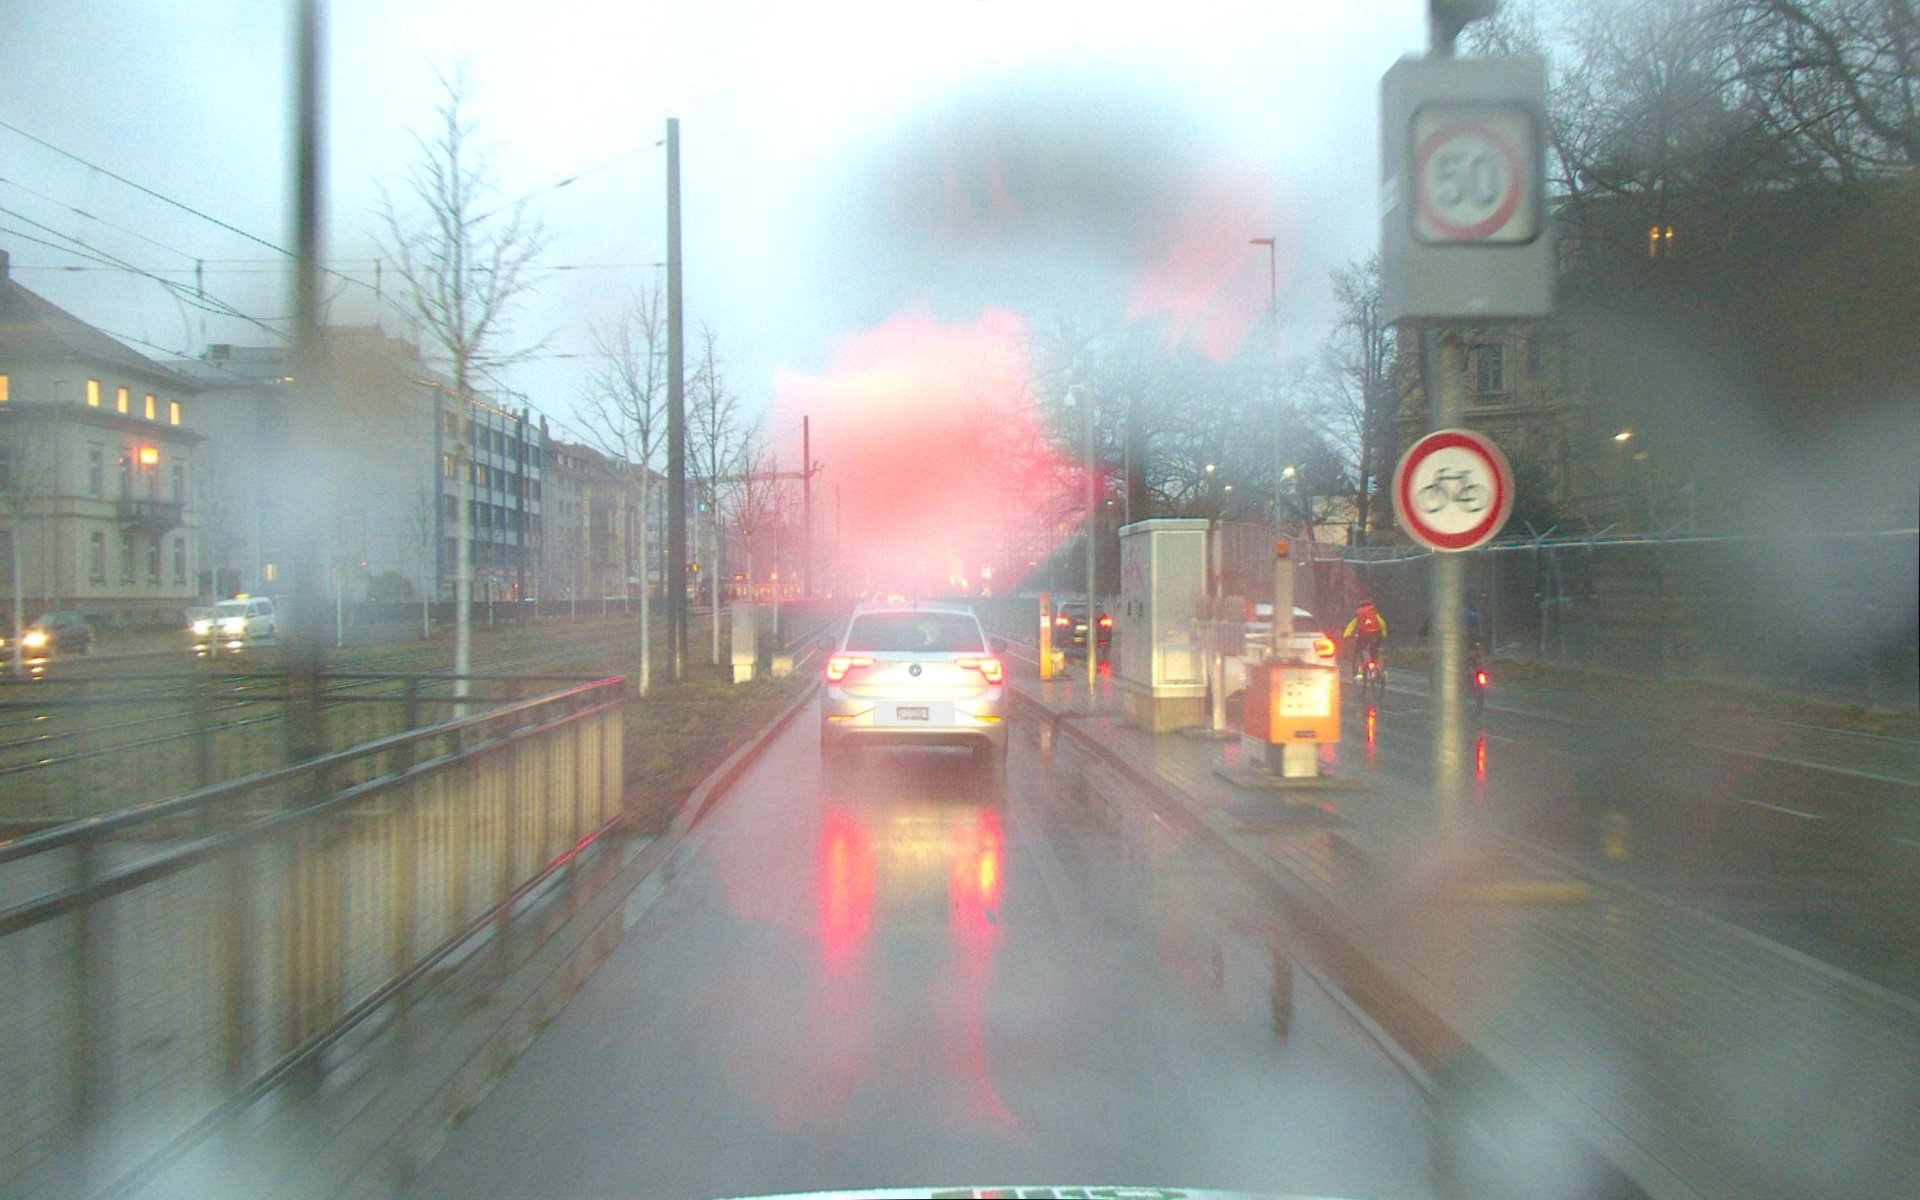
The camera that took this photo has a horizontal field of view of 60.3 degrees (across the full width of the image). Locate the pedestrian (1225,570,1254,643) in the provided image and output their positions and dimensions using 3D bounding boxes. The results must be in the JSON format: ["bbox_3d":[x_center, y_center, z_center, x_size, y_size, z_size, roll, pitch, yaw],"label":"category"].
[{"bbox_3d":[7.412,0.163,43.876,0.521,1.912,0.900,-1,0,-4],"label":"pedestrian"}]

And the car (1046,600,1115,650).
[{"bbox_3d":[3.379,0.701,47.011,1.590,1.322,3.999,1,-1,-1],"label":"car"}]

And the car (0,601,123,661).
[{"bbox_3d":[-28.061,0.943,51.660,1.954,1.722,4.108,-1,0,-4],"label":"car"}]

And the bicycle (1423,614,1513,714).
[{"bbox_3d":[6.566,0.800,21.469,0.403,1.206,2.027,-1,0,-4],"label":"bicycle"}]

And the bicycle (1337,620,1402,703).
[{"bbox_3d":[6.423,0.946,26.036,0.403,1.206,1.947,-1,0,-4],"label":"bicycle"}]

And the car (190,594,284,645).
[{"bbox_3d":[-29.663,0.773,68.013,1.954,1.966,4.908,-1,0,-4],"label":"car"}]

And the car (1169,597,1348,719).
[{"bbox_3d":[4.035,0.752,22.940,1.687,1.505,3.999,1,-1,-1],"label":"car"}]

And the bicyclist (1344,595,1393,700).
[{"bbox_3d":[6.423,0.737,26.029,0.490,1.619,0.836,-1,0,-4],"label":"bicyclist"}]

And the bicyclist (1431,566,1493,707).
[{"bbox_3d":[6.537,0.464,21.571,0.490,1.798,0.836,-1,0,-4],"label":"bicyclist"}]

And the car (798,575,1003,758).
[{"bbox_3d":[-0.531,0.579,15.916,1.687,1.505,3.999,1,-1,-1],"label":"car"}]
